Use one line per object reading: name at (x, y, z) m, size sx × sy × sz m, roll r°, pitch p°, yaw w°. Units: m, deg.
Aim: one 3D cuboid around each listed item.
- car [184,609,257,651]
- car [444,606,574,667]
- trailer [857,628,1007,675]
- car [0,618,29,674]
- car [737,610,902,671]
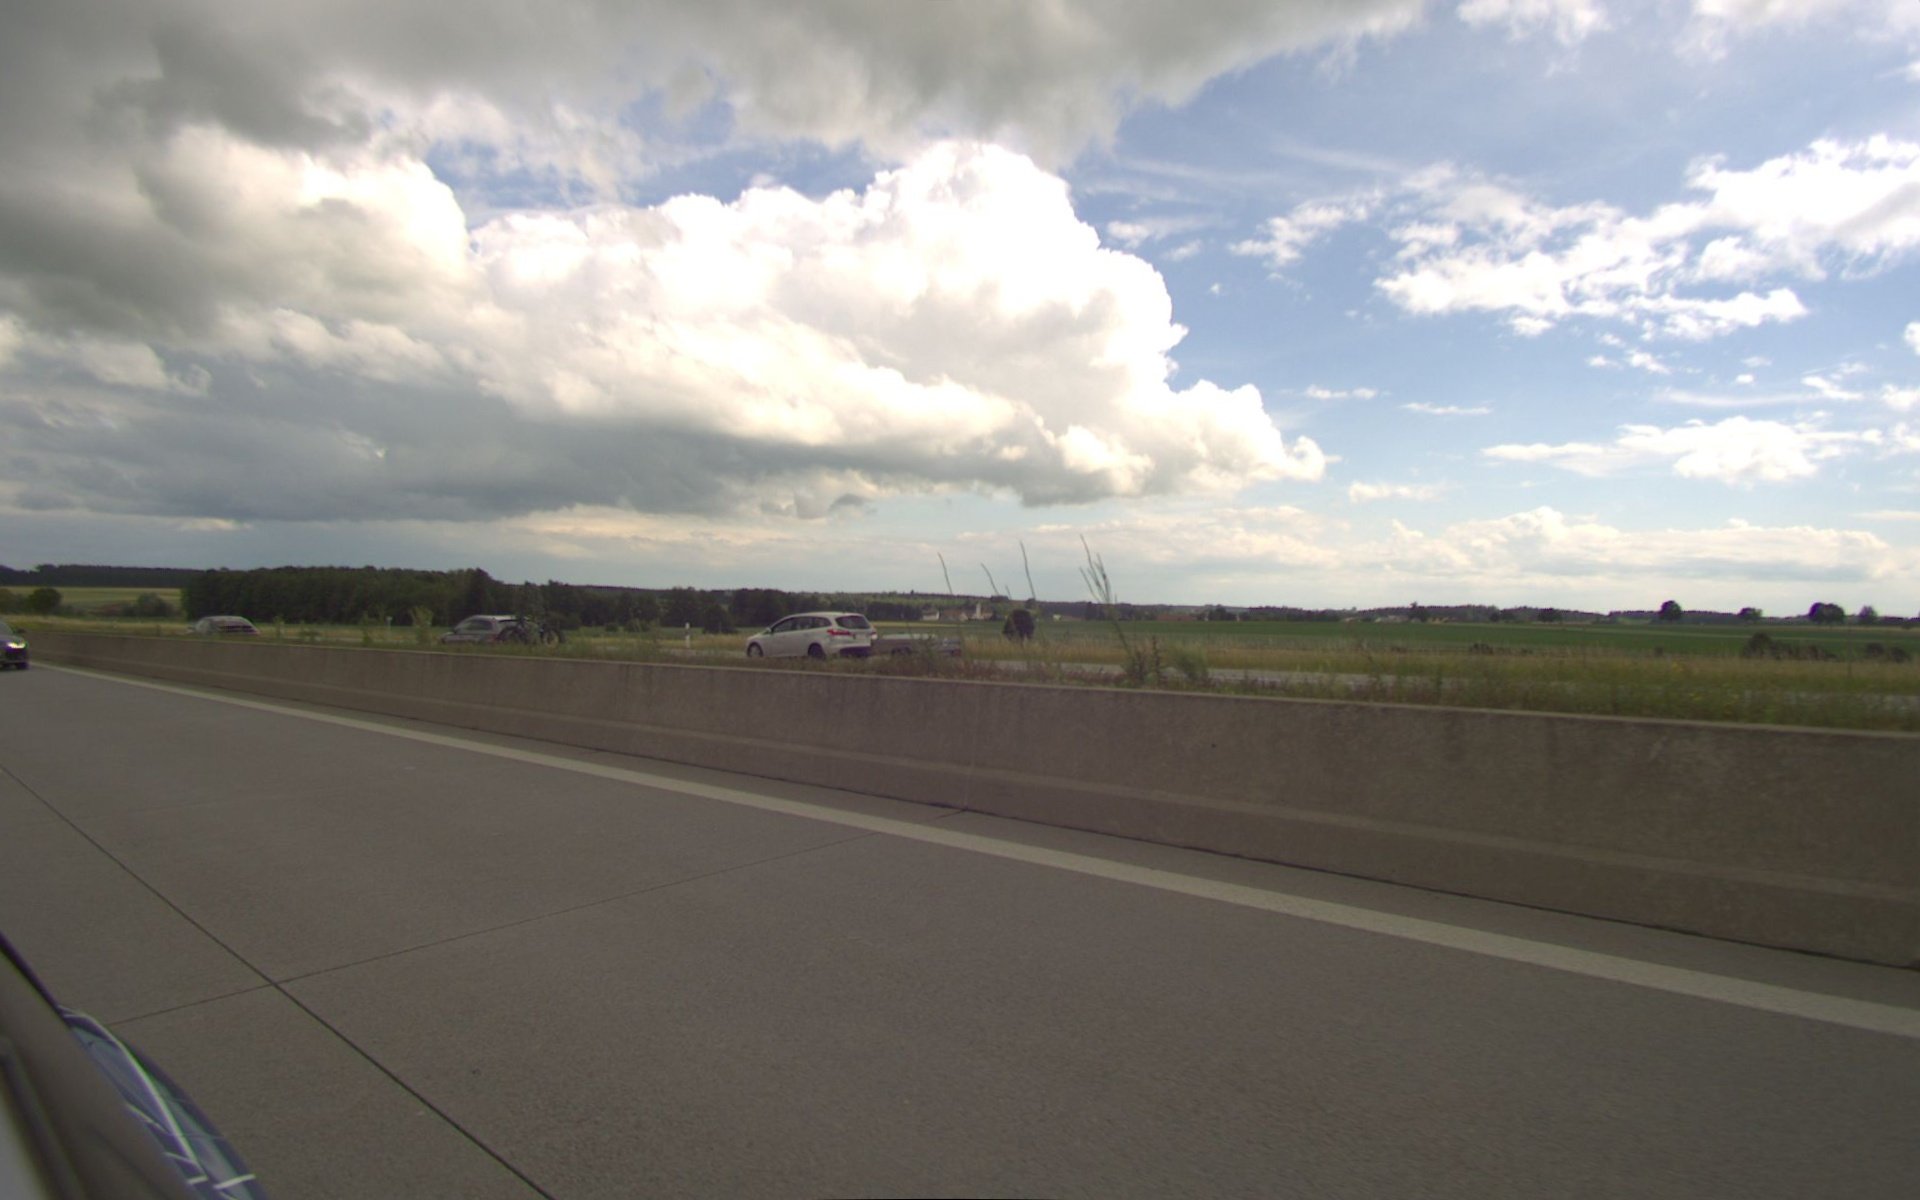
car at (-30.825, 1.212, 42.139) m, size 4.175 × 1.615 × 1.593 m, roll 0°, pitch 0°, yaw 41°
car at (-14.020, 1.075, 31.327) m, size 4.673 × 1.706 × 1.882 m, roll 0°, pitch 0°, yaw 41°
trailer at (-0.754, 1.258, 25.601) m, size 3.561 × 0.990 × 1.768 m, roll 0°, pitch 0°, yaw 41°
car at (-27.167, 1.259, 27.856) m, size 3.999 × 1.484 × 1.914 m, roll -1°, pitch -1°, yaw 42°
car at (-4.001, 1.063, 28.316) m, size 4.847 × 1.481 × 1.878 m, roll 0°, pitch 0°, yaw 41°
